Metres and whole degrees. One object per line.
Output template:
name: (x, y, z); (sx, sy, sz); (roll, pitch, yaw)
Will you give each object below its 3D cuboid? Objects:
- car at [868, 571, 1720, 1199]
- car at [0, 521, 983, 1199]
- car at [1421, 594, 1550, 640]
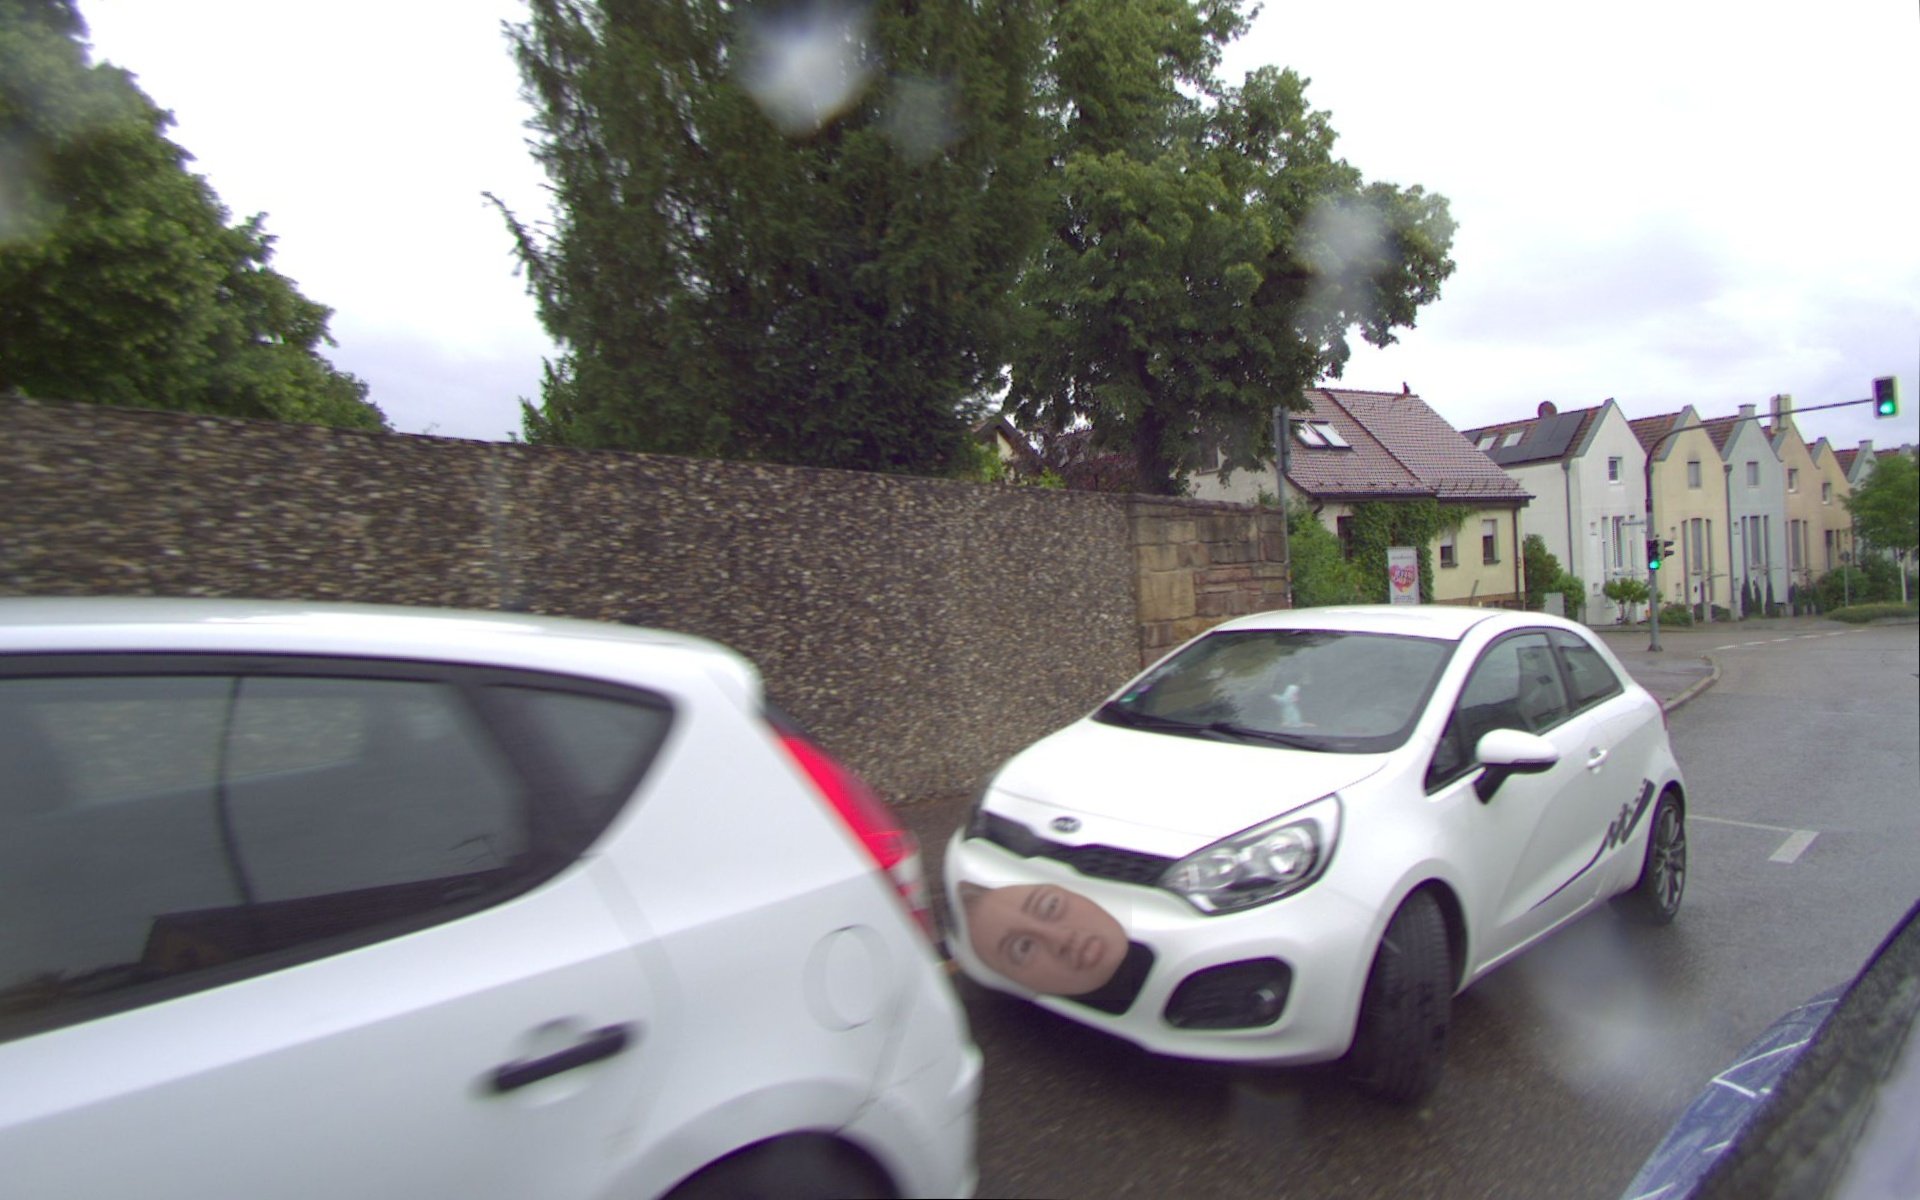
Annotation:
car: (1.703, 0.669, 4.306); (3.967, 1.499, 1.614); (-1, -1, -41)
car: (-1.983, 0.686, 1.227); (3.930, 1.481, 1.648); (-1, -1, -41)
car: (20.058, 0.615, 38.832); (1.826, 1.605, 4.153); (-2, 1, -23)
